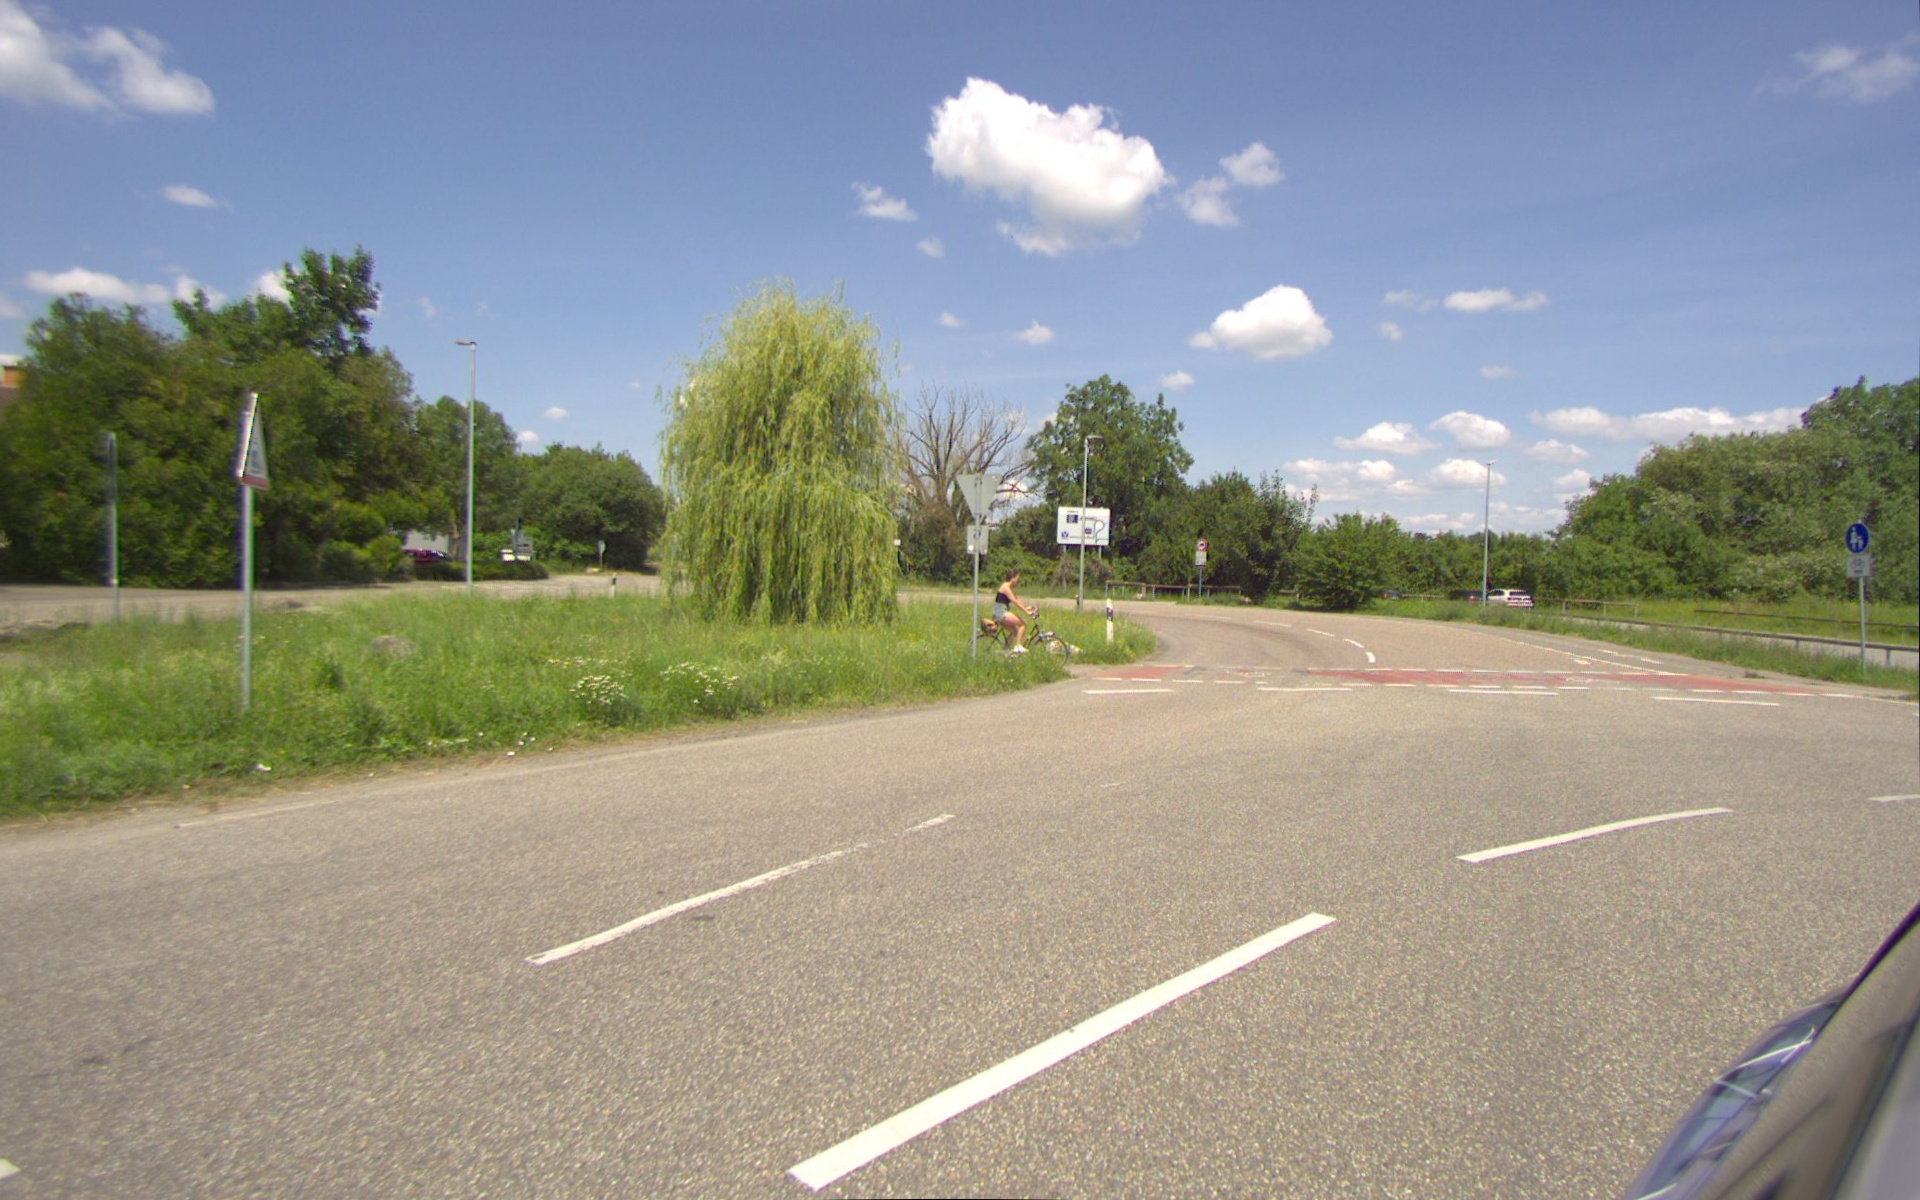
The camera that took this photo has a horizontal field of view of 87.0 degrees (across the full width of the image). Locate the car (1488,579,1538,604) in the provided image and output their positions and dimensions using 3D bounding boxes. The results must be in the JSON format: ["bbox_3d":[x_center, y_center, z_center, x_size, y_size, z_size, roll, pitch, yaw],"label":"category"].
[{"bbox_3d":[35.417,-0.555,64.849,1.391,1.523,3.119,1,1,-1],"label":"car"}]

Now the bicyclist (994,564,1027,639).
[{"bbox_3d":[0.873,0.017,17.556,0.501,1.271,0.469,2,1,-1],"label":"bicyclist"}]

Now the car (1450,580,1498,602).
[{"bbox_3d":[32.744,-0.565,64.504,1.391,1.354,3.119,1,1,-1],"label":"car"}]

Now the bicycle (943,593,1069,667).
[{"bbox_3d":[0.781,0.509,17.617,2.105,1.179,0.661,2,1,-1],"label":"bicycle"}]

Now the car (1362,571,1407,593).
[{"bbox_3d":[27.118,-1.117,64.706,1.390,1.354,3.121,1,1,-4],"label":"car"}]
